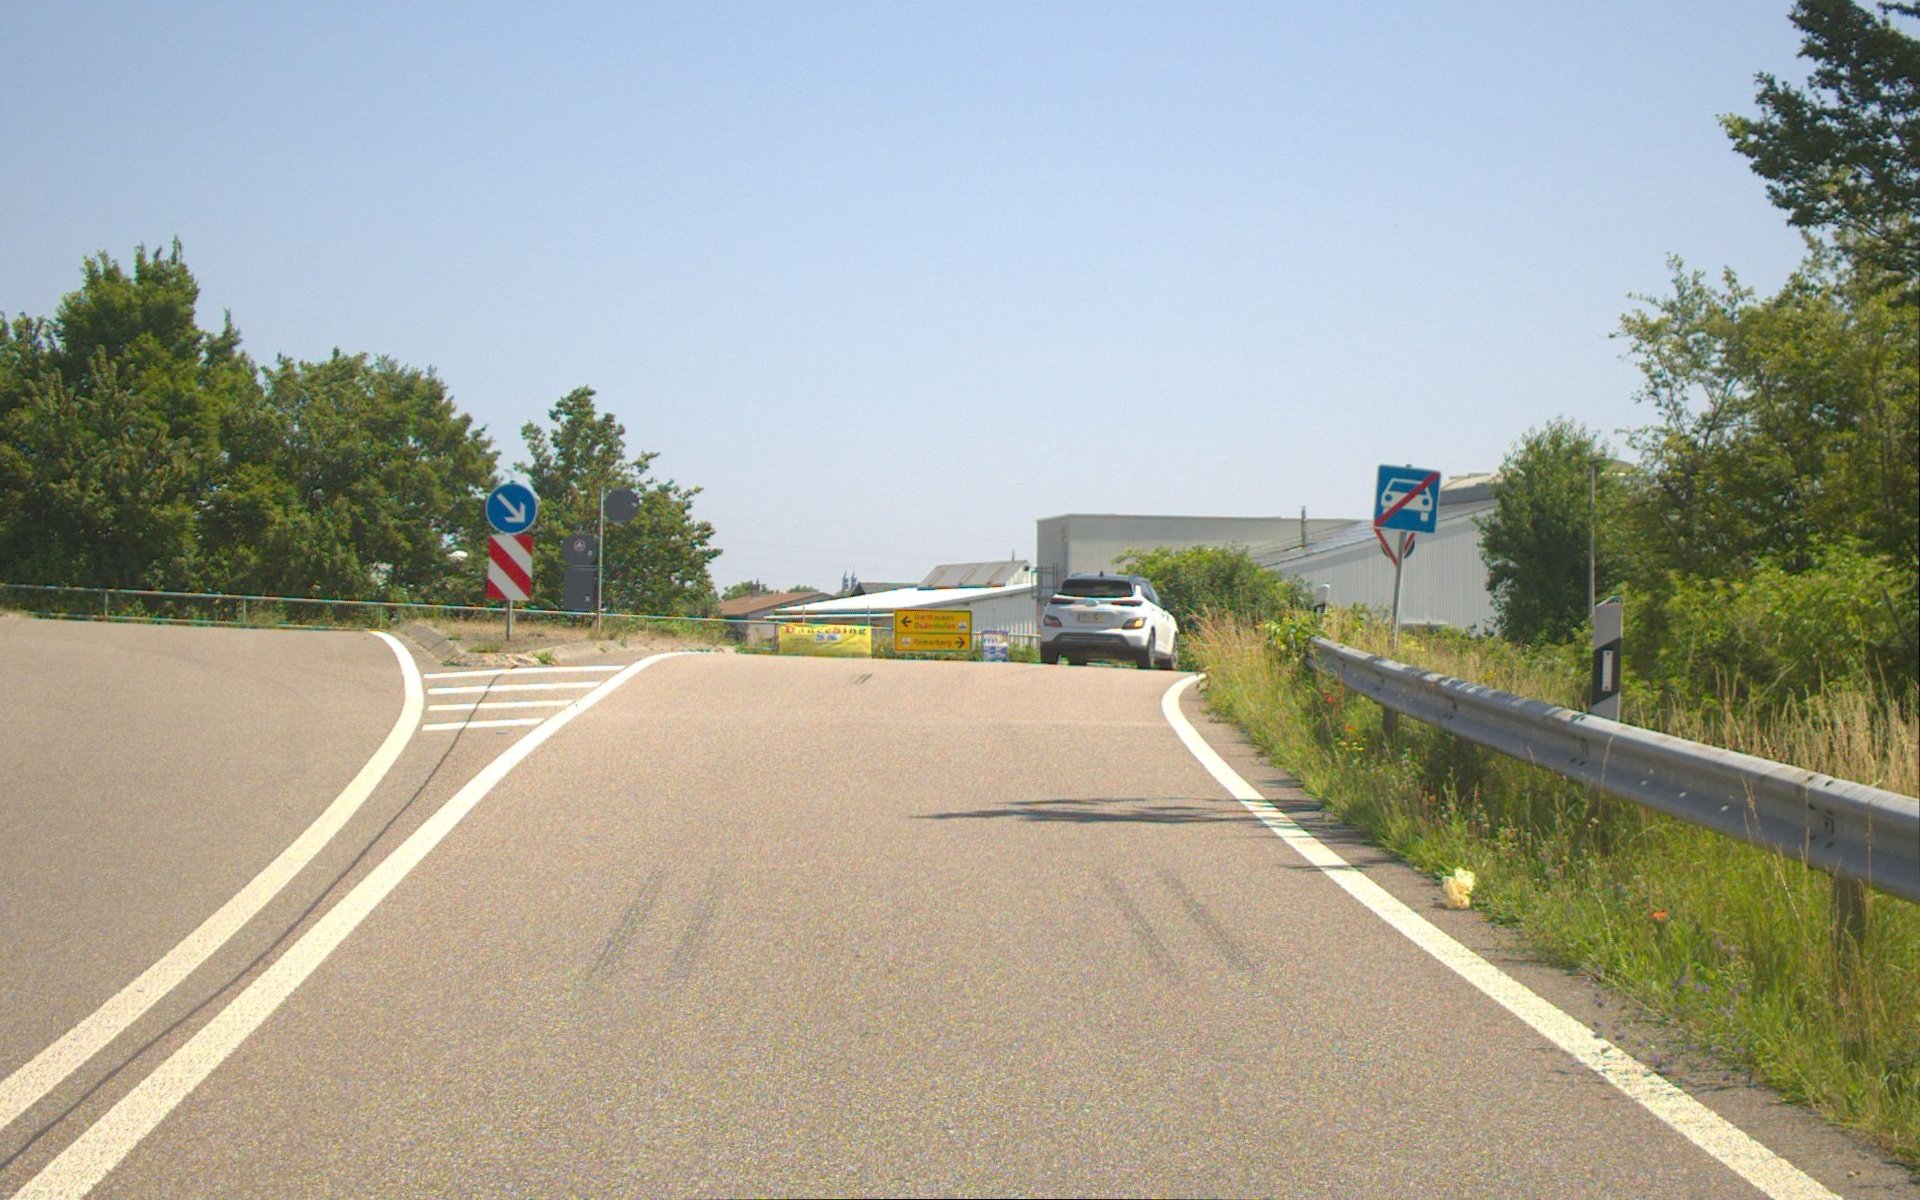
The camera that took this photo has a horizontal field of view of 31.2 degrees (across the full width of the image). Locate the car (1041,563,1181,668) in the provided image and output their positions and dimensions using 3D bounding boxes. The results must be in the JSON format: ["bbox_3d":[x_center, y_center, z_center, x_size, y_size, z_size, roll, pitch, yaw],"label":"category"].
[{"bbox_3d":[2.540,0.276,56.943,1.809,1.685,3.998,0,-1,10],"label":"car"}]
